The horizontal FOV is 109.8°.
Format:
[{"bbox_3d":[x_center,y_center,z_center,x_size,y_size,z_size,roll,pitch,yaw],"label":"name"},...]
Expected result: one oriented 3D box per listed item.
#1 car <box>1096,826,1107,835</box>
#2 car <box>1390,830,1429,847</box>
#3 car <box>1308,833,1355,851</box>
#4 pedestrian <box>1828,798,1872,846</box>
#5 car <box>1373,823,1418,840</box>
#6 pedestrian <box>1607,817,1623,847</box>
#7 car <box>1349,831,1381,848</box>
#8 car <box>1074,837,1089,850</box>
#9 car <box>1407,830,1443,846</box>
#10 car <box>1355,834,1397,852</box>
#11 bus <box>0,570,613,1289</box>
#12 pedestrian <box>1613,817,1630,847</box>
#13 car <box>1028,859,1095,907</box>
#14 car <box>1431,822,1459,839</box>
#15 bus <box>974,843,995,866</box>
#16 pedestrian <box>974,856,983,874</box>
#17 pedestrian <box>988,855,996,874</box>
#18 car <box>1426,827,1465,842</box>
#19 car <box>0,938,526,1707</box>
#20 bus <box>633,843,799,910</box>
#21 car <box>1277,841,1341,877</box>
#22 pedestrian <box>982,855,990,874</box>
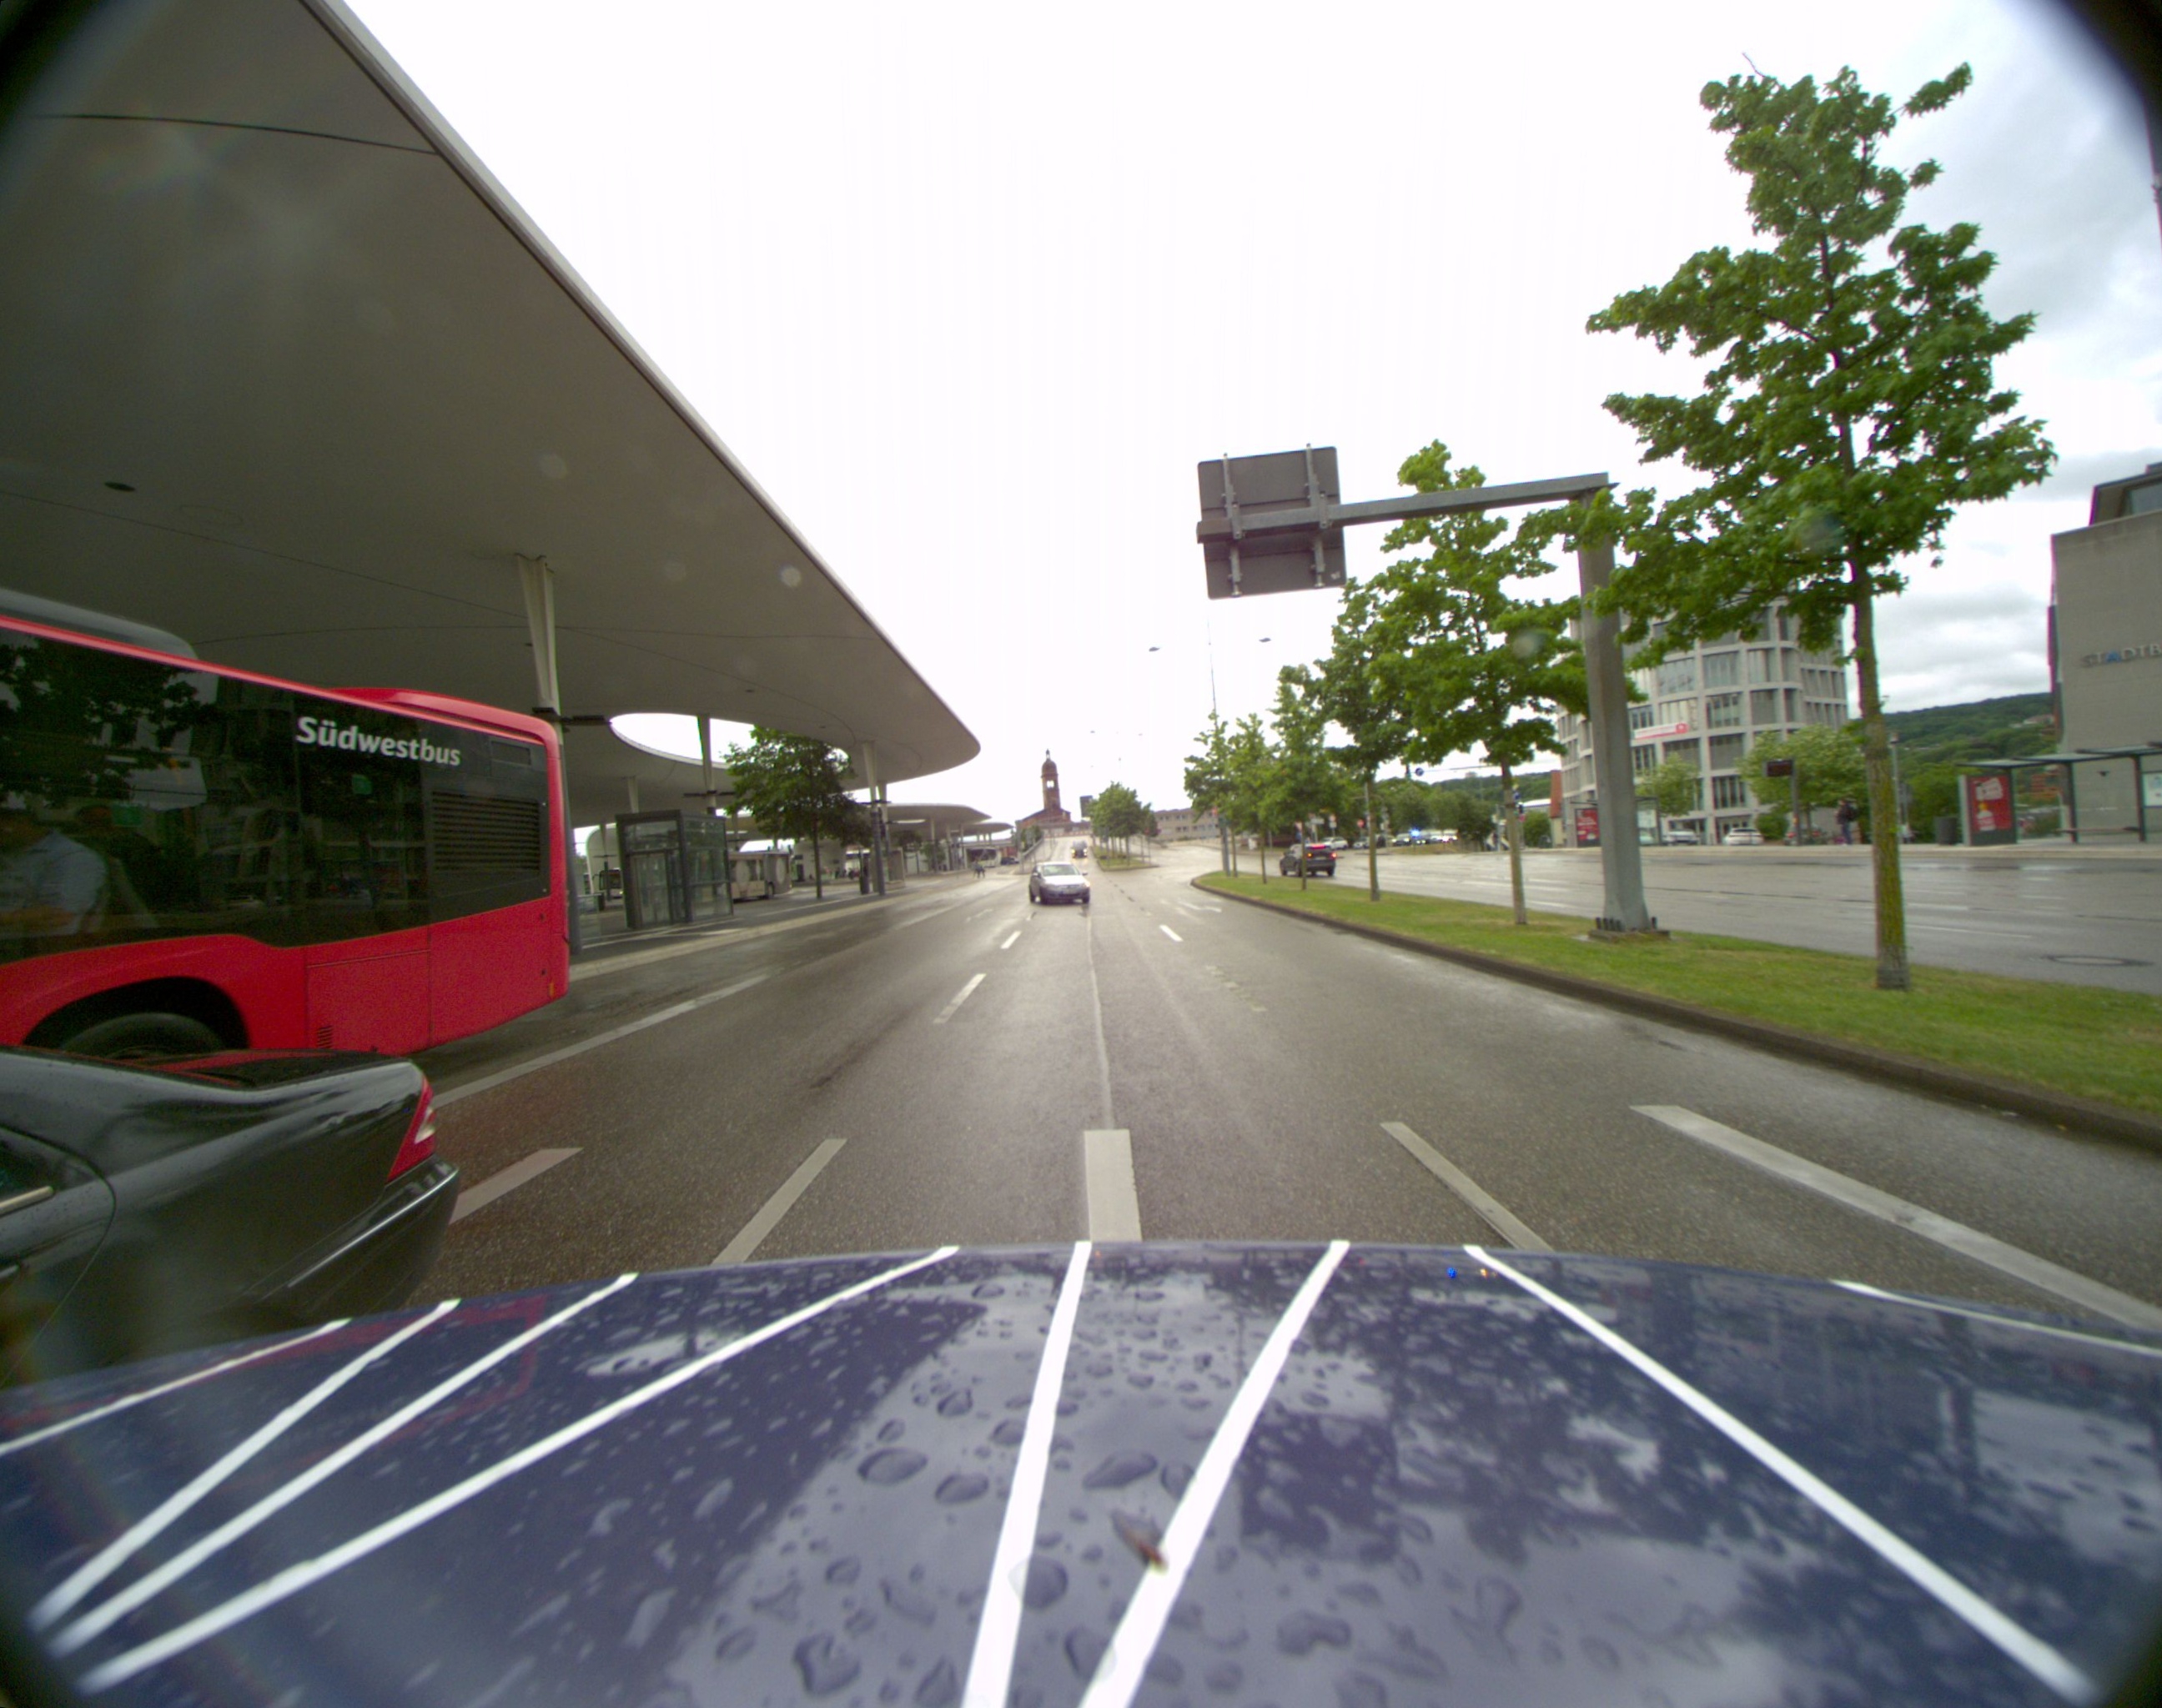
[{"bbox_3d":[4.588,-5.205,170.245,2.000,1.765,3.997,-3,1,-7],"label":"car"},{"bbox_3d":[37.330,-1.813,86.190,4.925,1.702,2.190,-3,1,-43],"label":"car"},{"bbox_3d":[27.079,-1.261,82.068,4.924,1.702,2.191,-3,1,-35],"label":"car"},{"bbox_3d":[29.280,-1.202,28.938,0.787,1.750,0.972,-3,1,-28],"label":"pedestrian"},{"bbox_3d":[42.846,-3.019,103.653,2.315,2.002,5.021,-3,1,-41],"label":"car"},{"bbox_3d":[29.511,-1.210,42.005,0.504,1.625,0.502,-2,1,1],"label":"pedestrian"},{"bbox_3d":[33.039,-1.689,88.358,4.008,1.783,1.995,-2,0,-44],"label":"car"},{"bbox_3d":[0.084,-1.370,101.398,1.704,1.656,3.998,-3,1,-2],"label":"car"},{"bbox_3d":[41.727,-1.938,92.006,4.925,1.702,2.190,-3,1,-43],"label":"car"},{"bbox_3d":[31.636,-1.200,81.479,4.925,1.702,2.190,-3,1,-43],"label":"car"},{"bbox_3d":[-6.131,0.371,3.534,2.750,3.155,8.119,-3,0,0],"label":"bus"},{"bbox_3d":[30.060,-1.237,42.238,0.520,1.625,0.536,-2,1,1],"label":"pedestrian"},{"bbox_3d":[-0.759,0.958,26.676,1.629,1.450,3.732,-3,0,-12],"label":"car"},{"bbox_3d":[46.858,-3.023,97.758,1.995,2.002,4.008,-2,0,44],"label":"car"},{"bbox_3d":[-14.295,0.069,113.259,2.675,3.111,9.712,-3,0,-5],"label":"bus"},{"bbox_3d":[-9.035,0.959,67.046,0.576,1.614,0.588,-3,1,1],"label":"pedestrian"},{"bbox_3d":[-7.788,0.909,66.685,0.557,1.614,0.552,-3,1,1],"label":"pedestrian"},{"bbox_3d":[49.605,-2.640,103.539,2.196,1.702,4.912,-3,0,-10],"label":"car"},{"bbox_3d":[-2.830,1.163,0.308,1.750,1.472,4.434,-6,1,1],"label":"car"},{"bbox_3d":[-19.825,1.058,42.715,3.003,3.088,12.354,-3,0,1],"label":"bus"},{"bbox_3d":[11.627,0.216,39.104,1.826,1.630,4.599,-3,0,0],"label":"car"},{"bbox_3d":[-8.393,0.931,66.924,0.557,1.614,0.552,-3,1,1],"label":"pedestrian"}]
